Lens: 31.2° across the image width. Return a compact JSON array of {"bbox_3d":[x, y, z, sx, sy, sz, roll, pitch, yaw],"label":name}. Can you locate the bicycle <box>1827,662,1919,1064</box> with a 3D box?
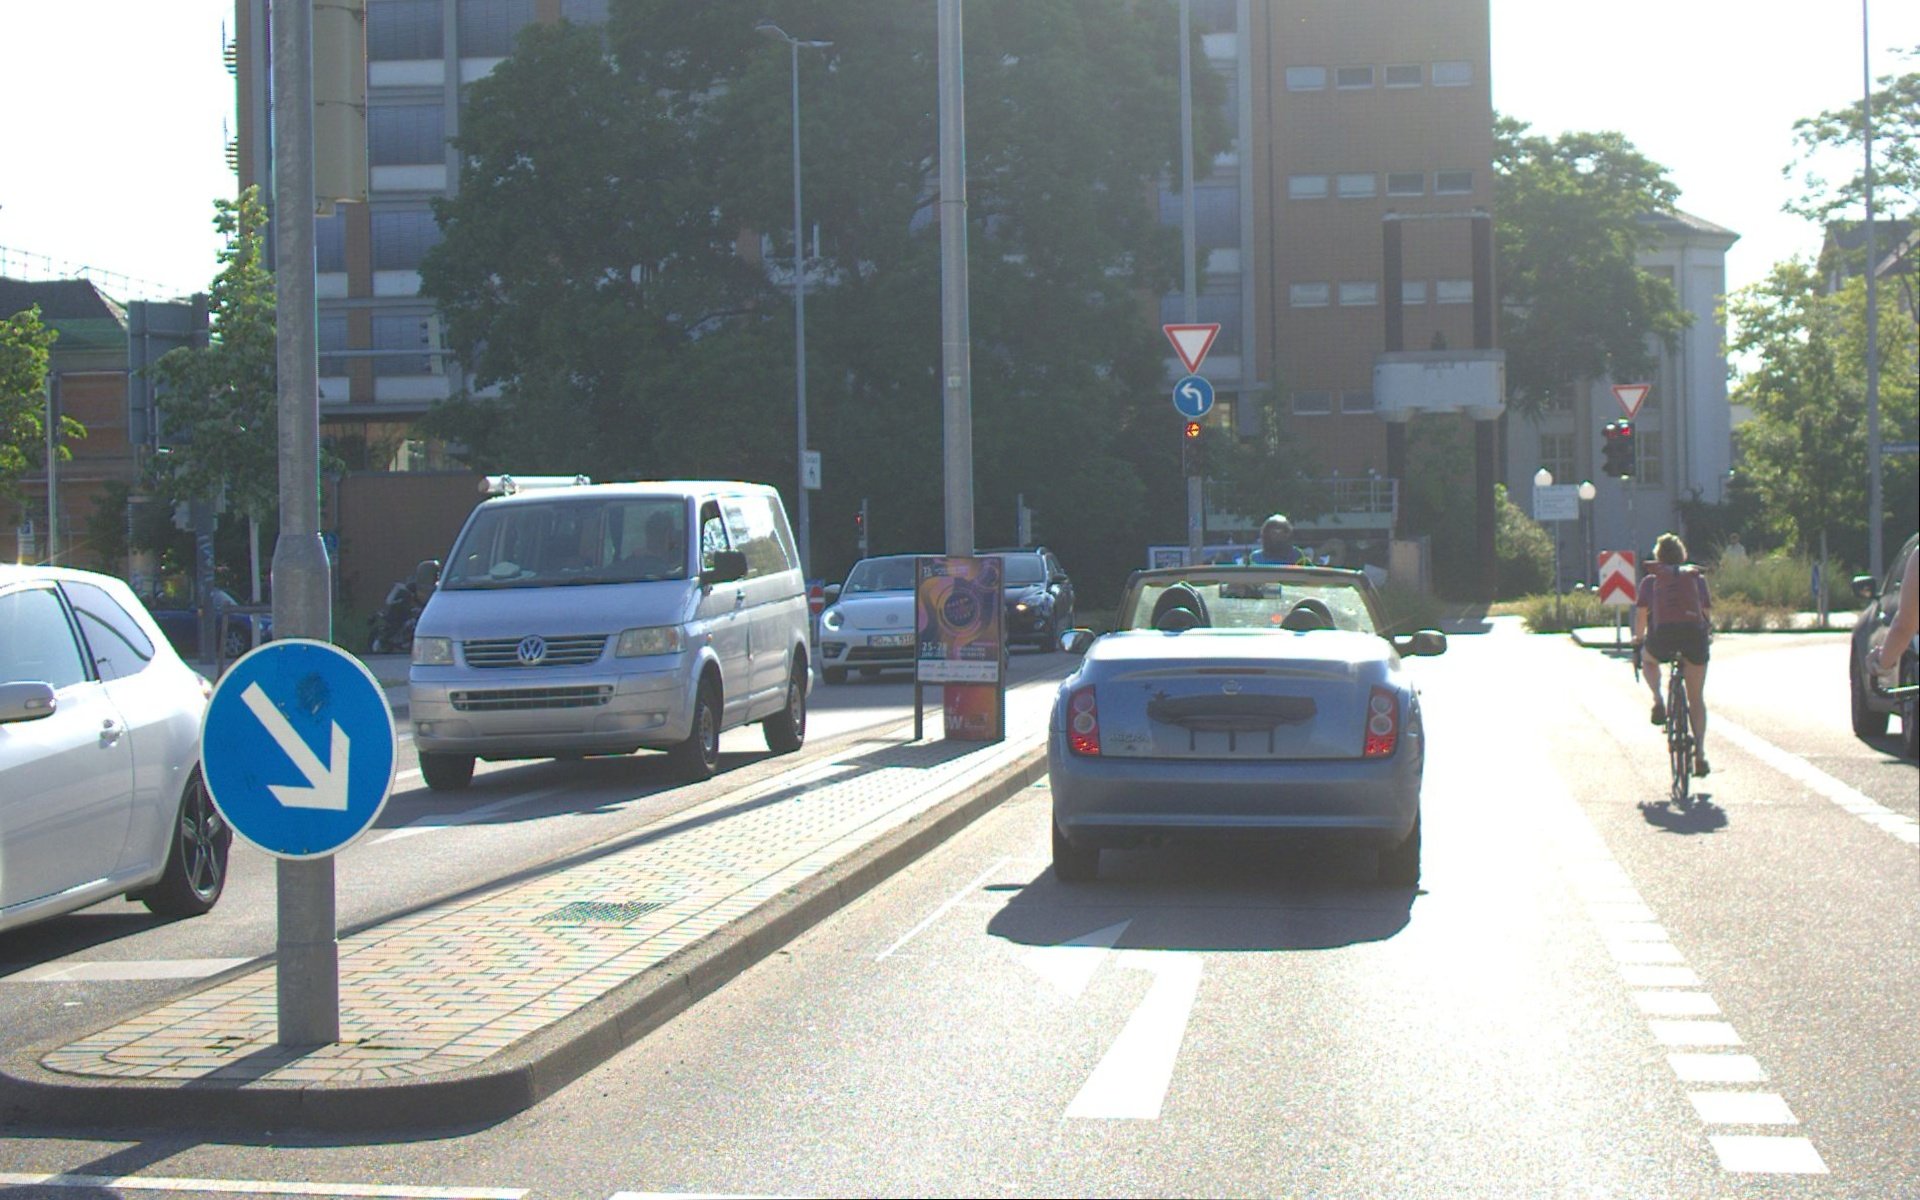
[{"bbox_3d":[3.188,0.791,10.905,0.564,1.147,1.949,1,0,6],"label":"bicycle"}]

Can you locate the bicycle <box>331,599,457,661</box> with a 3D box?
[{"bbox_3d":[-11.191,0.585,67.969,2.408,1.187,0.609,1,0,14],"label":"bicycle"}]

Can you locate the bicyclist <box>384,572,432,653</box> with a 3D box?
[{"bbox_3d":[-10.890,0.249,67.826,0.752,1.593,0.589,1,0,14],"label":"bicyclist"}]

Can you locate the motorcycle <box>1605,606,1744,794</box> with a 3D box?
[{"bbox_3d":[4.420,0.590,21.391,0.613,1.094,2.359,1,0,6],"label":"motorcycle"}]

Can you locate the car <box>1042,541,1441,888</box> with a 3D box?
[{"bbox_3d":[1.384,0.485,16.569,1.660,1.436,4.153,1,0,6],"label":"car"}]

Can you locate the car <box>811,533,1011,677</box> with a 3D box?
[{"bbox_3d":[-0.513,0.031,39.817,1.799,1.525,3.999,-2,1,6],"label":"car"}]

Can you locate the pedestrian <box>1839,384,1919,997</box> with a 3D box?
[{"bbox_3d":[3.196,0.279,10.856,0.659,1.862,0.872,1,0,5],"label":"pedestrian"}]

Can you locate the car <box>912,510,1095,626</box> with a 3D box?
[{"bbox_3d":[0.663,-0.470,48.986,1.800,1.525,3.998,-2,1,12],"label":"car"}]

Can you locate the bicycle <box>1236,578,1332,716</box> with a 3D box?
[{"bbox_3d":[2.946,0.414,31.063,0.608,1.187,2.413,1,0,11],"label":"bicycle"}]

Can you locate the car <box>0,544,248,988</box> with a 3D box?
[{"bbox_3d":[-4.134,0.585,12.753,1.695,1.555,3.979,-1,1,7],"label":"car"}]

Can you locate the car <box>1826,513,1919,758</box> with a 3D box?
[{"bbox_3d":[7.699,0.258,25.531,1.831,1.683,4.367,1,0,6],"label":"car"}]

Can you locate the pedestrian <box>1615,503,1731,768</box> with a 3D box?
[{"bbox_3d":[4.410,0.213,21.301,0.588,1.593,1.024,1,0,6],"label":"pedestrian"}]

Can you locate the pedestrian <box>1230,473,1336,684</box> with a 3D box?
[{"bbox_3d":[2.913,-0.189,30.937,0.833,1.862,0.920,1,0,11],"label":"pedestrian"}]

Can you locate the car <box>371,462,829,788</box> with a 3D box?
[{"bbox_3d":[-2.317,0.122,23.518,1.909,1.938,4.705,-2,1,9],"label":"car"}]
